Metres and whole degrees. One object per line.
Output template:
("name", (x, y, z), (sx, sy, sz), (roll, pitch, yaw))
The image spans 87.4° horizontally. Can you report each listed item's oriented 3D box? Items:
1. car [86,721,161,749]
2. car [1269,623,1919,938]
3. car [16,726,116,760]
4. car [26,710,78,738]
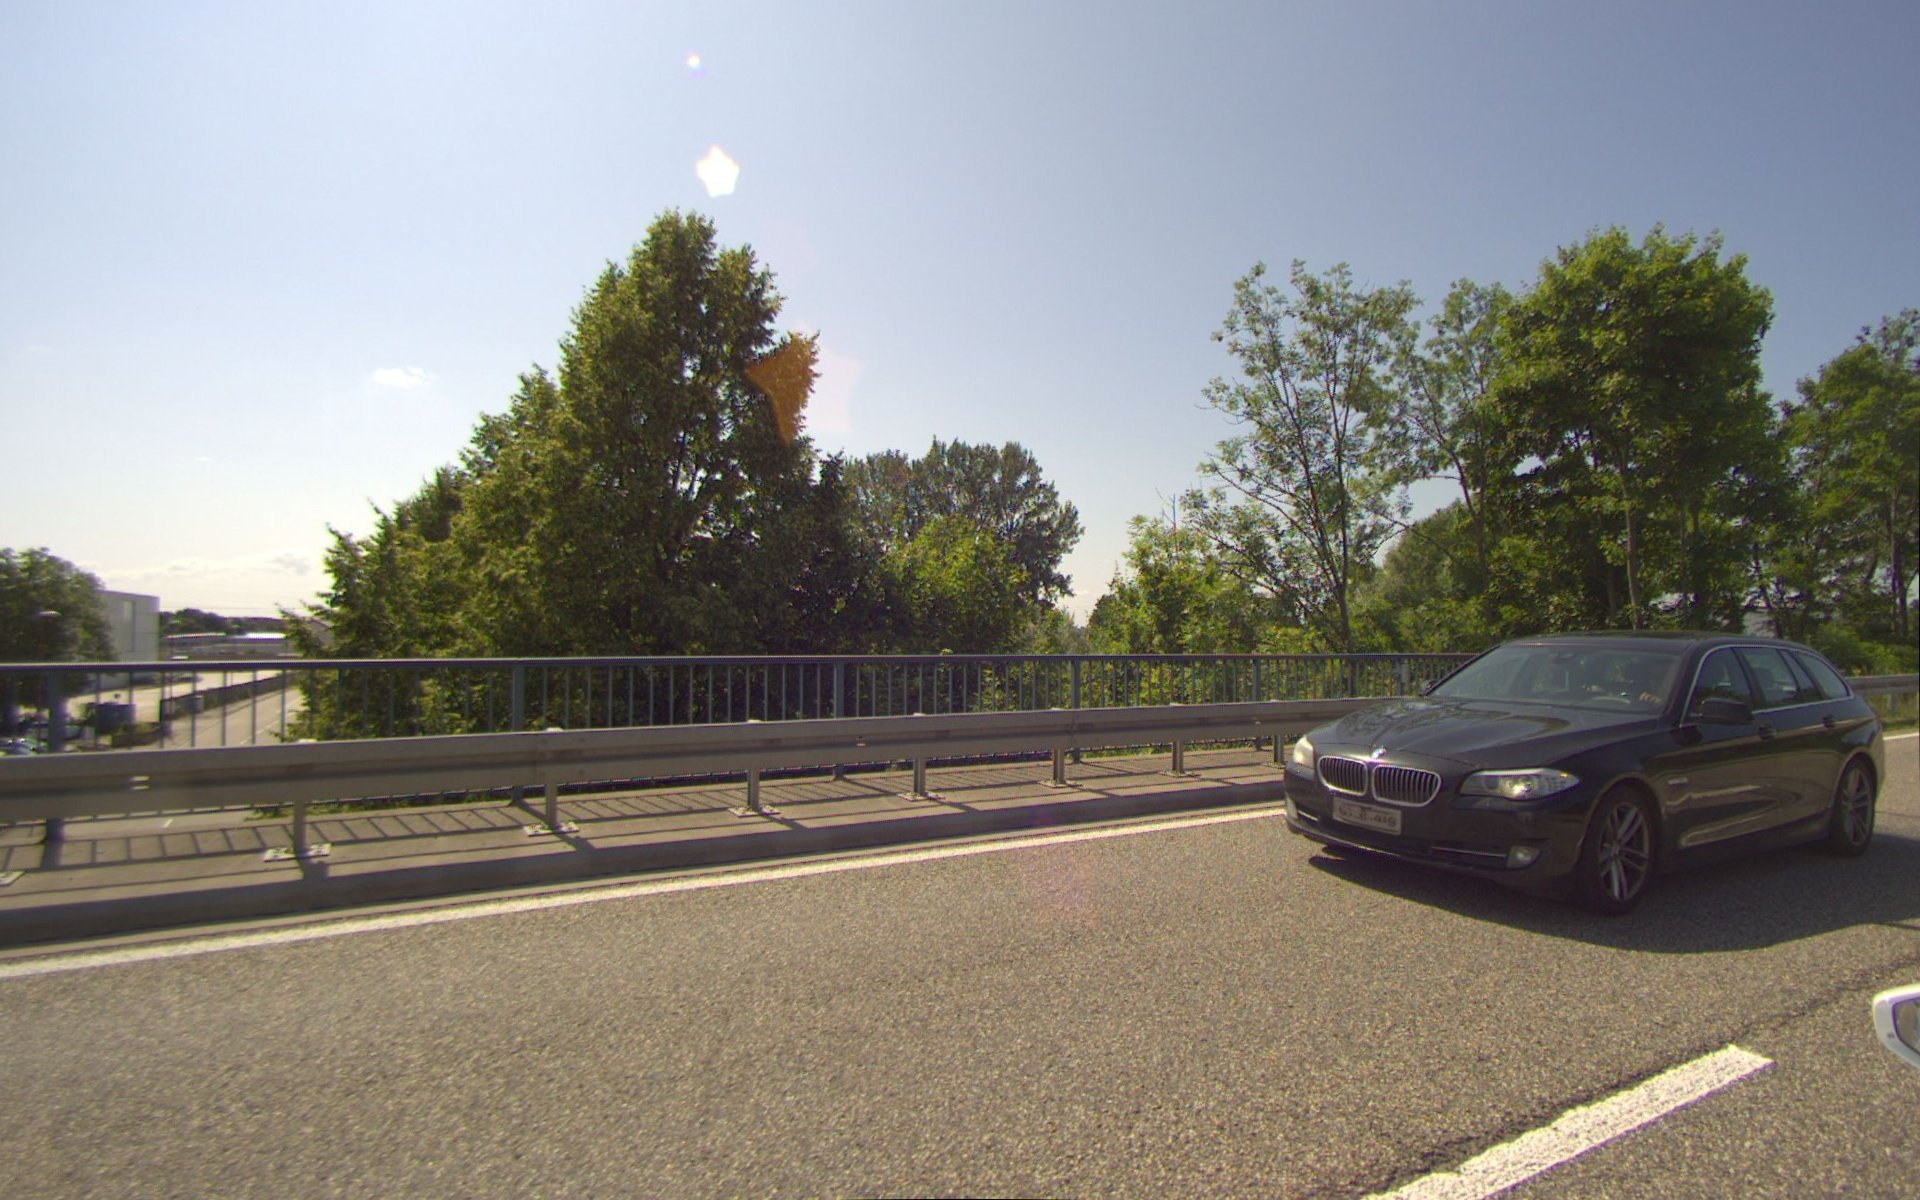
("car", (-54.889, 8.846, 65.961), (1.670, 1.567, 3.581), (-1, -4, 6))
("car", (4.326, 0.909, 6.600), (4.622, 1.444, 1.738), (2, -1, -30))
("car", (-51.313, 8.193, 57.767), (3.923, 1.680, 1.694), (2, -4, -27))
("car", (-60.113, 8.190, 66.551), (1.684, 1.647, 3.552), (2, -4, -29))
